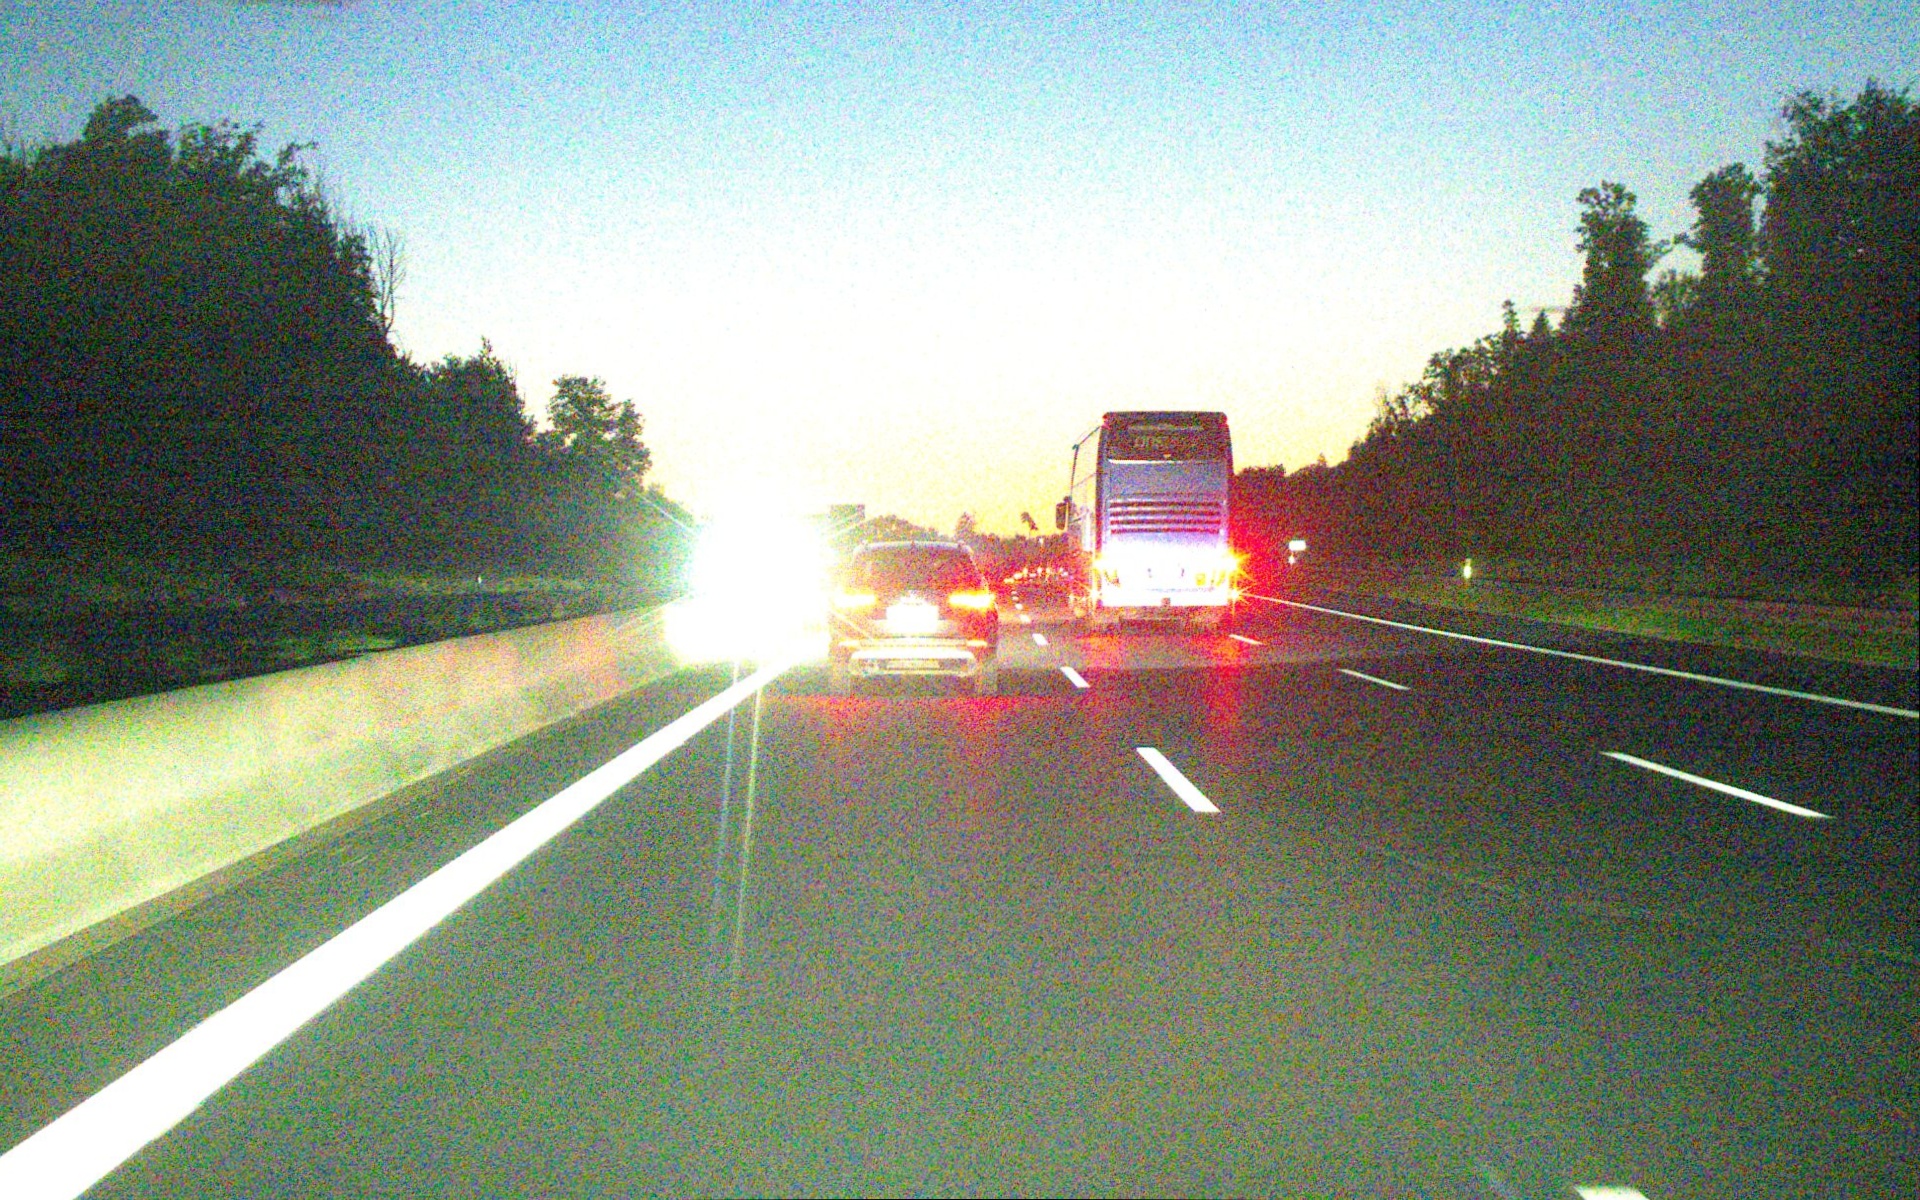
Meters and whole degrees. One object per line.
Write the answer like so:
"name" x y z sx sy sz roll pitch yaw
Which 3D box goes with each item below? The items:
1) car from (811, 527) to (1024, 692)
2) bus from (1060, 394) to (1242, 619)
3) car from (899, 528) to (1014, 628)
"car" -0.467 0.095 36.836 2.105 1.612 4.204 -2 0 -1
"bus" 3.644 -1.687 69.190 2.652 3.980 14.702 -2 0 0
"car" -0.101 -0.403 65.593 1.911 1.724 4.000 3 0 -3
